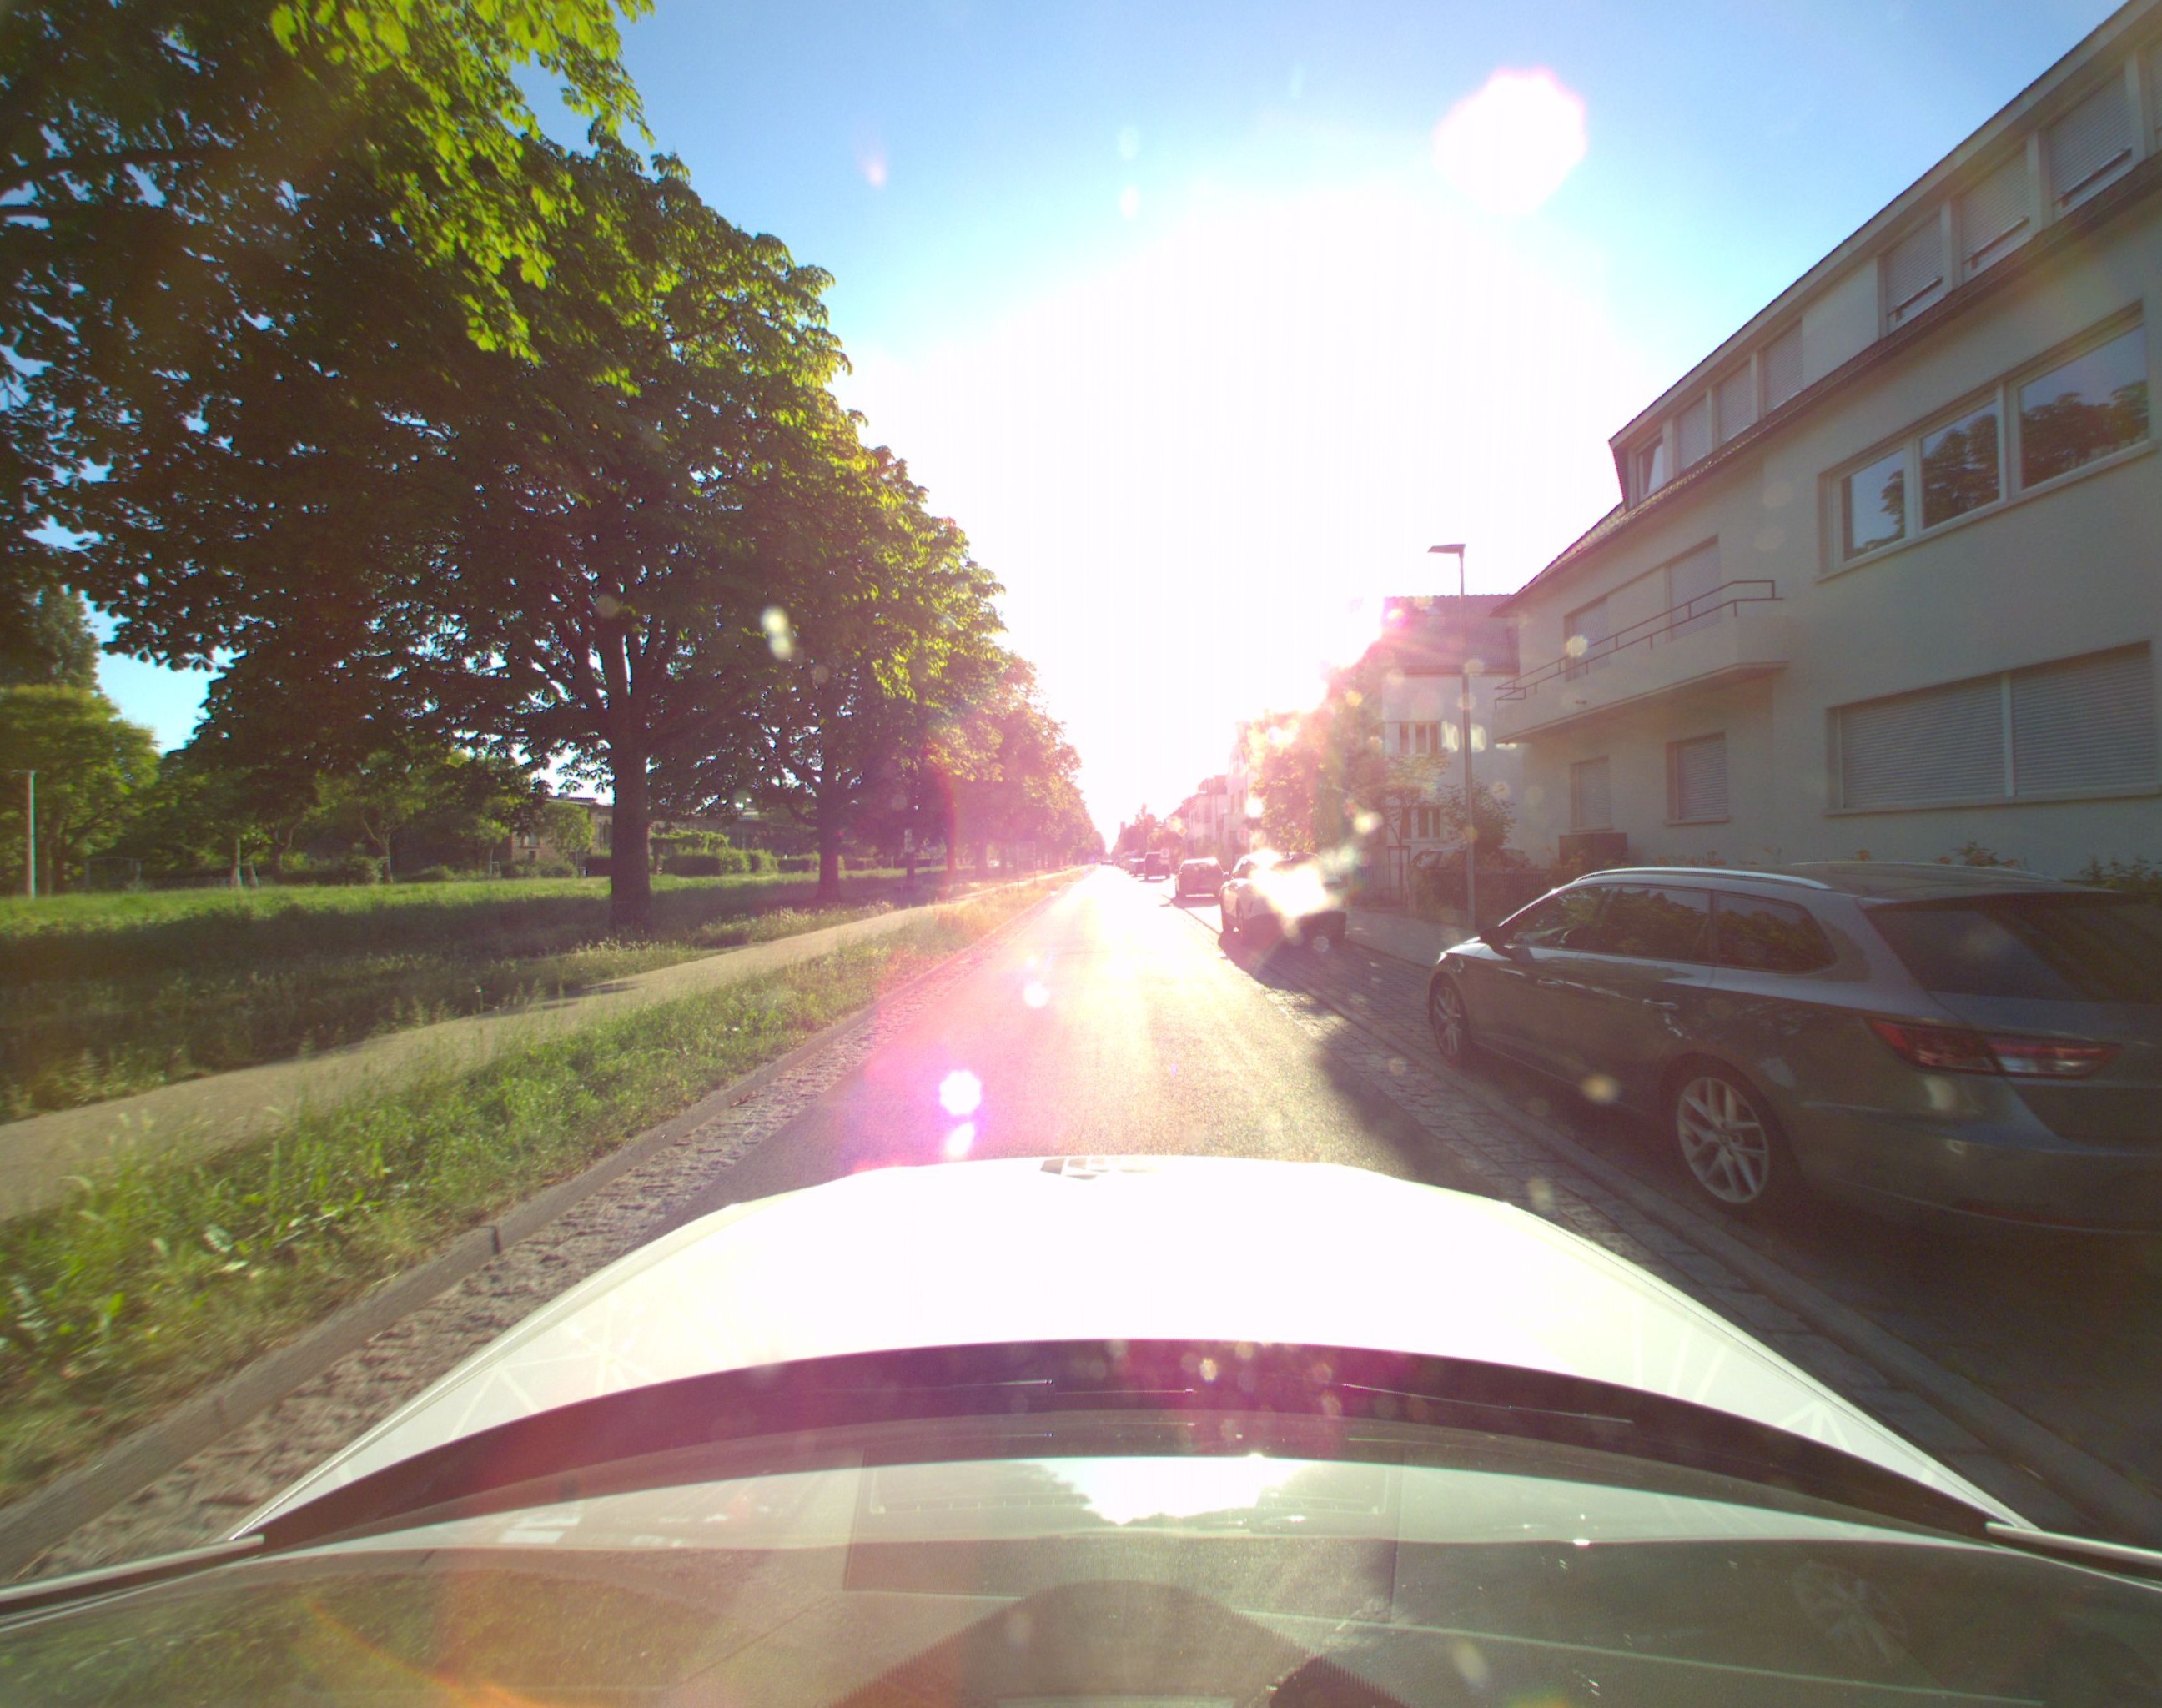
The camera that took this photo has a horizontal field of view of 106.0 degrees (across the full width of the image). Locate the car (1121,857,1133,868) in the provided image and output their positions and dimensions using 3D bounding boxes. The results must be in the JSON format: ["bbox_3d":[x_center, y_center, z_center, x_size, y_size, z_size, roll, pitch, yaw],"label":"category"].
[{"bbox_3d":[6.511,1.220,116.425,1.657,1.593,4.088,0,-1,2],"label":"car"}]

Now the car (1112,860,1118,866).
[{"bbox_3d":[10.055,2.668,240.983,1.643,1.530,3.854,2,0,3],"label":"car"}]

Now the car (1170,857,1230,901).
[{"bbox_3d":[4.506,0.913,31.262,1.787,1.482,4.125,-3,0,2],"label":"car"}]

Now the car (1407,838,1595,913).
[{"bbox_3d":[10.800,0.524,21.100,3.975,1.845,1.813,0,1,-4],"label":"car"}]

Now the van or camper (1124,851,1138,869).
[{"bbox_3d":[7.561,0.937,123.089,1.936,2.778,5.942,0,-1,2],"label":"van or camper"}]

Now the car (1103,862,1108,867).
[{"bbox_3d":[7.640,3.151,254.590,1.643,1.530,3.854,2,0,3],"label":"car"}]

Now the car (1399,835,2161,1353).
[{"bbox_3d":[3.475,0.730,4.566,1.787,1.494,4.195,-3,0,2],"label":"car"}]

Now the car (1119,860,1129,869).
[{"bbox_3d":[7.753,1.848,147.241,1.643,1.530,3.854,-2,0,3],"label":"car"}]

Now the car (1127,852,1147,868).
[{"bbox_3d":[6.177,0.683,89.926,1.713,1.574,4.207,-3,-1,-1],"label":"car"}]

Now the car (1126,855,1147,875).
[{"bbox_3d":[5.261,1.052,77.705,1.787,1.771,4.474,-3,0,2],"label":"car"}]

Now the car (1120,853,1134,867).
[{"bbox_3d":[8.628,1.084,153.298,2.119,2.533,5.187,-2,0,0],"label":"car"}]

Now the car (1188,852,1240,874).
[{"bbox_3d":[11.559,0.793,70.972,4.206,1.726,1.852,-2,-1,-2],"label":"car"}]

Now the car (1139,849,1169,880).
[{"bbox_3d":[5.451,0.799,61.298,1.898,2.132,4.818,-3,0,3],"label":"car"}]

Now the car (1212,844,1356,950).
[{"bbox_3d":[3.829,0.723,16.178,1.897,1.708,4.579,-3,0,3],"label":"car"}]
